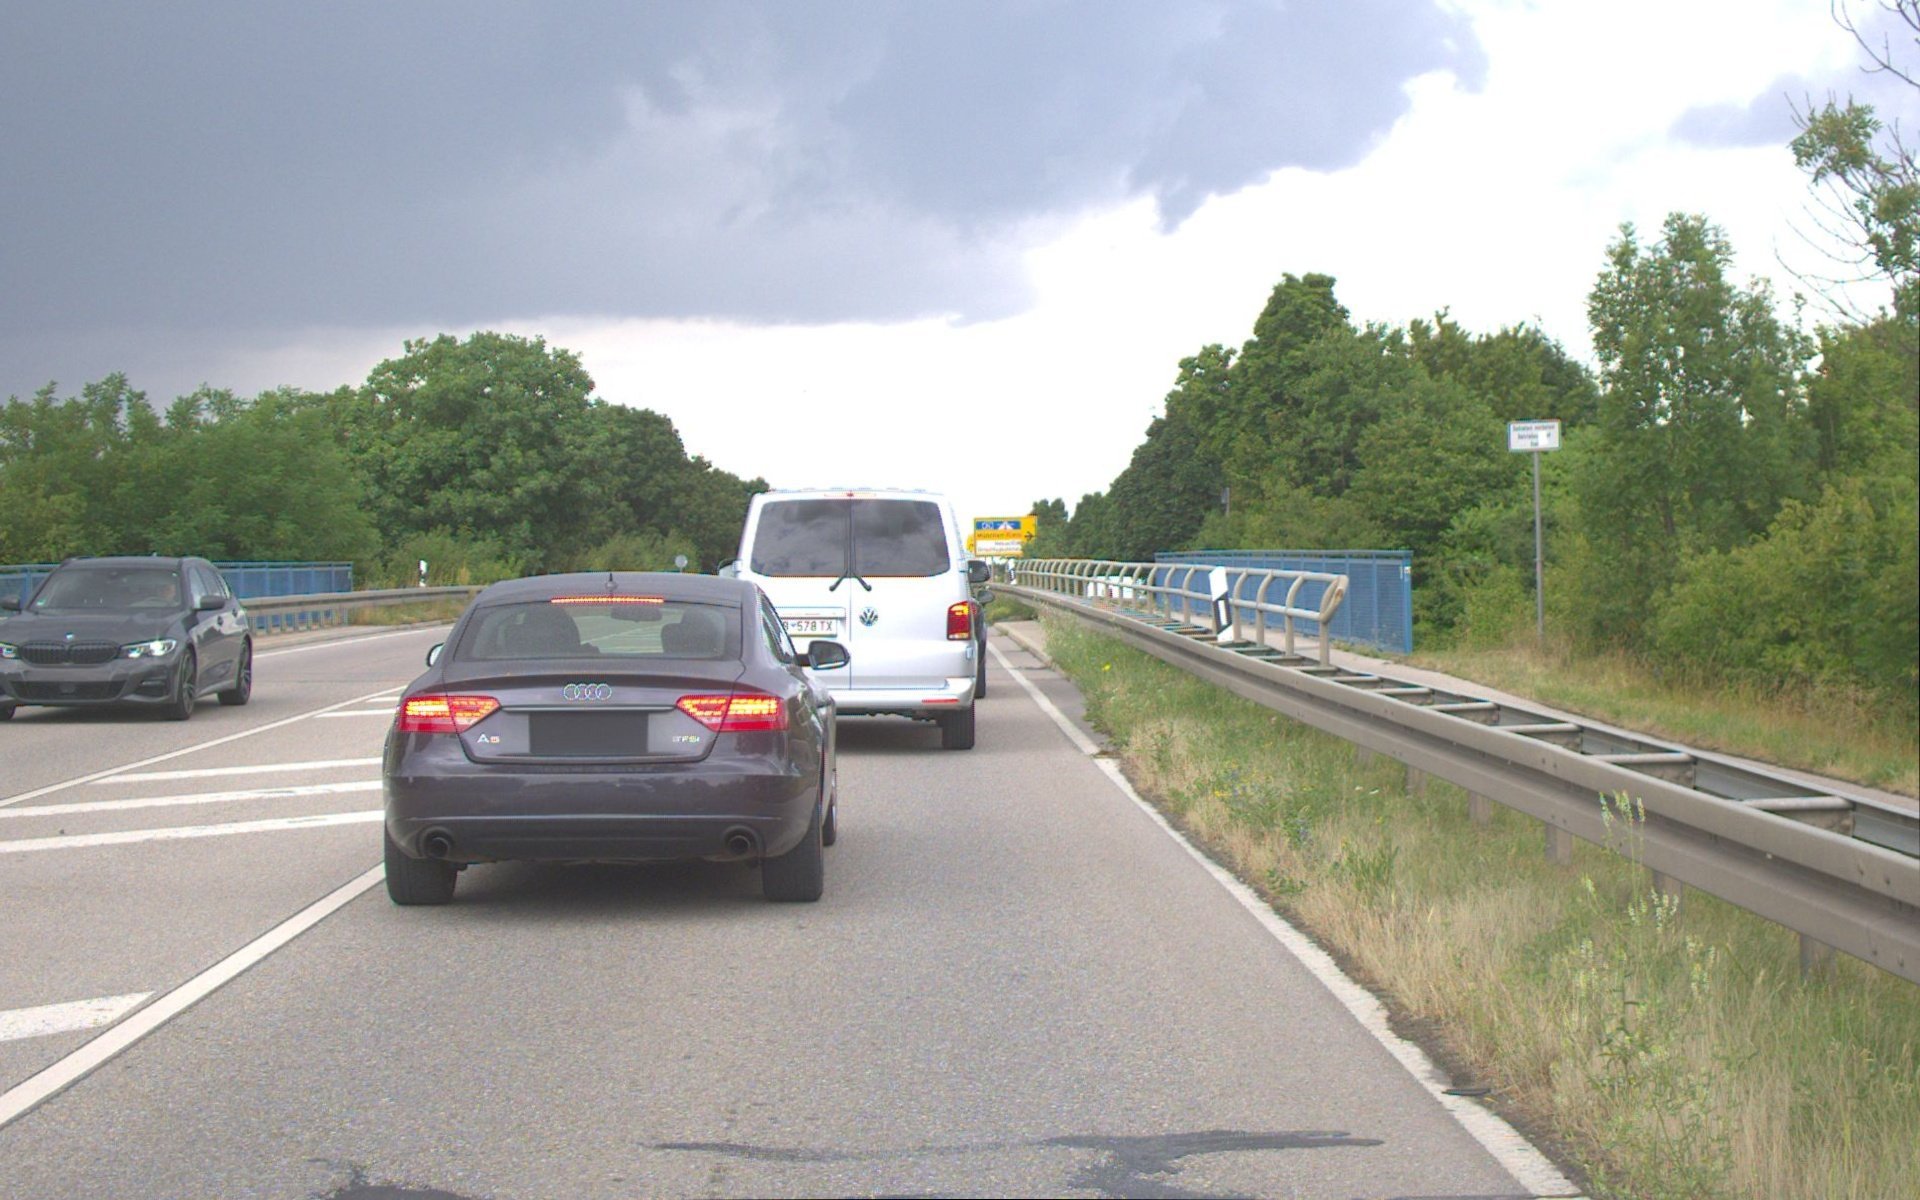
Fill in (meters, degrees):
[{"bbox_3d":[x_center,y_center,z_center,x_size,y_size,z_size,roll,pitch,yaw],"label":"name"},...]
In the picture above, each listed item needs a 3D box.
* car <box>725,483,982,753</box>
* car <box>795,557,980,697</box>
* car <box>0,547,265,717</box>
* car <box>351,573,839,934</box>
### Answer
[{"bbox_3d":[-0.801,0.109,26.820,1.828,1.929,4.000,-1,1,-1],"label":"car"},{"bbox_3d":[-0.713,0.240,35.990,1.821,1.376,4.072,0,1,0],"label":"car"},{"bbox_3d":[-7.740,0.255,31.937,1.799,1.445,4.446,-1,1,-2],"label":"car"},{"bbox_3d":[-1.496,0.583,15.463,1.821,1.376,4.072,-1,1,-1],"label":"car"}]
